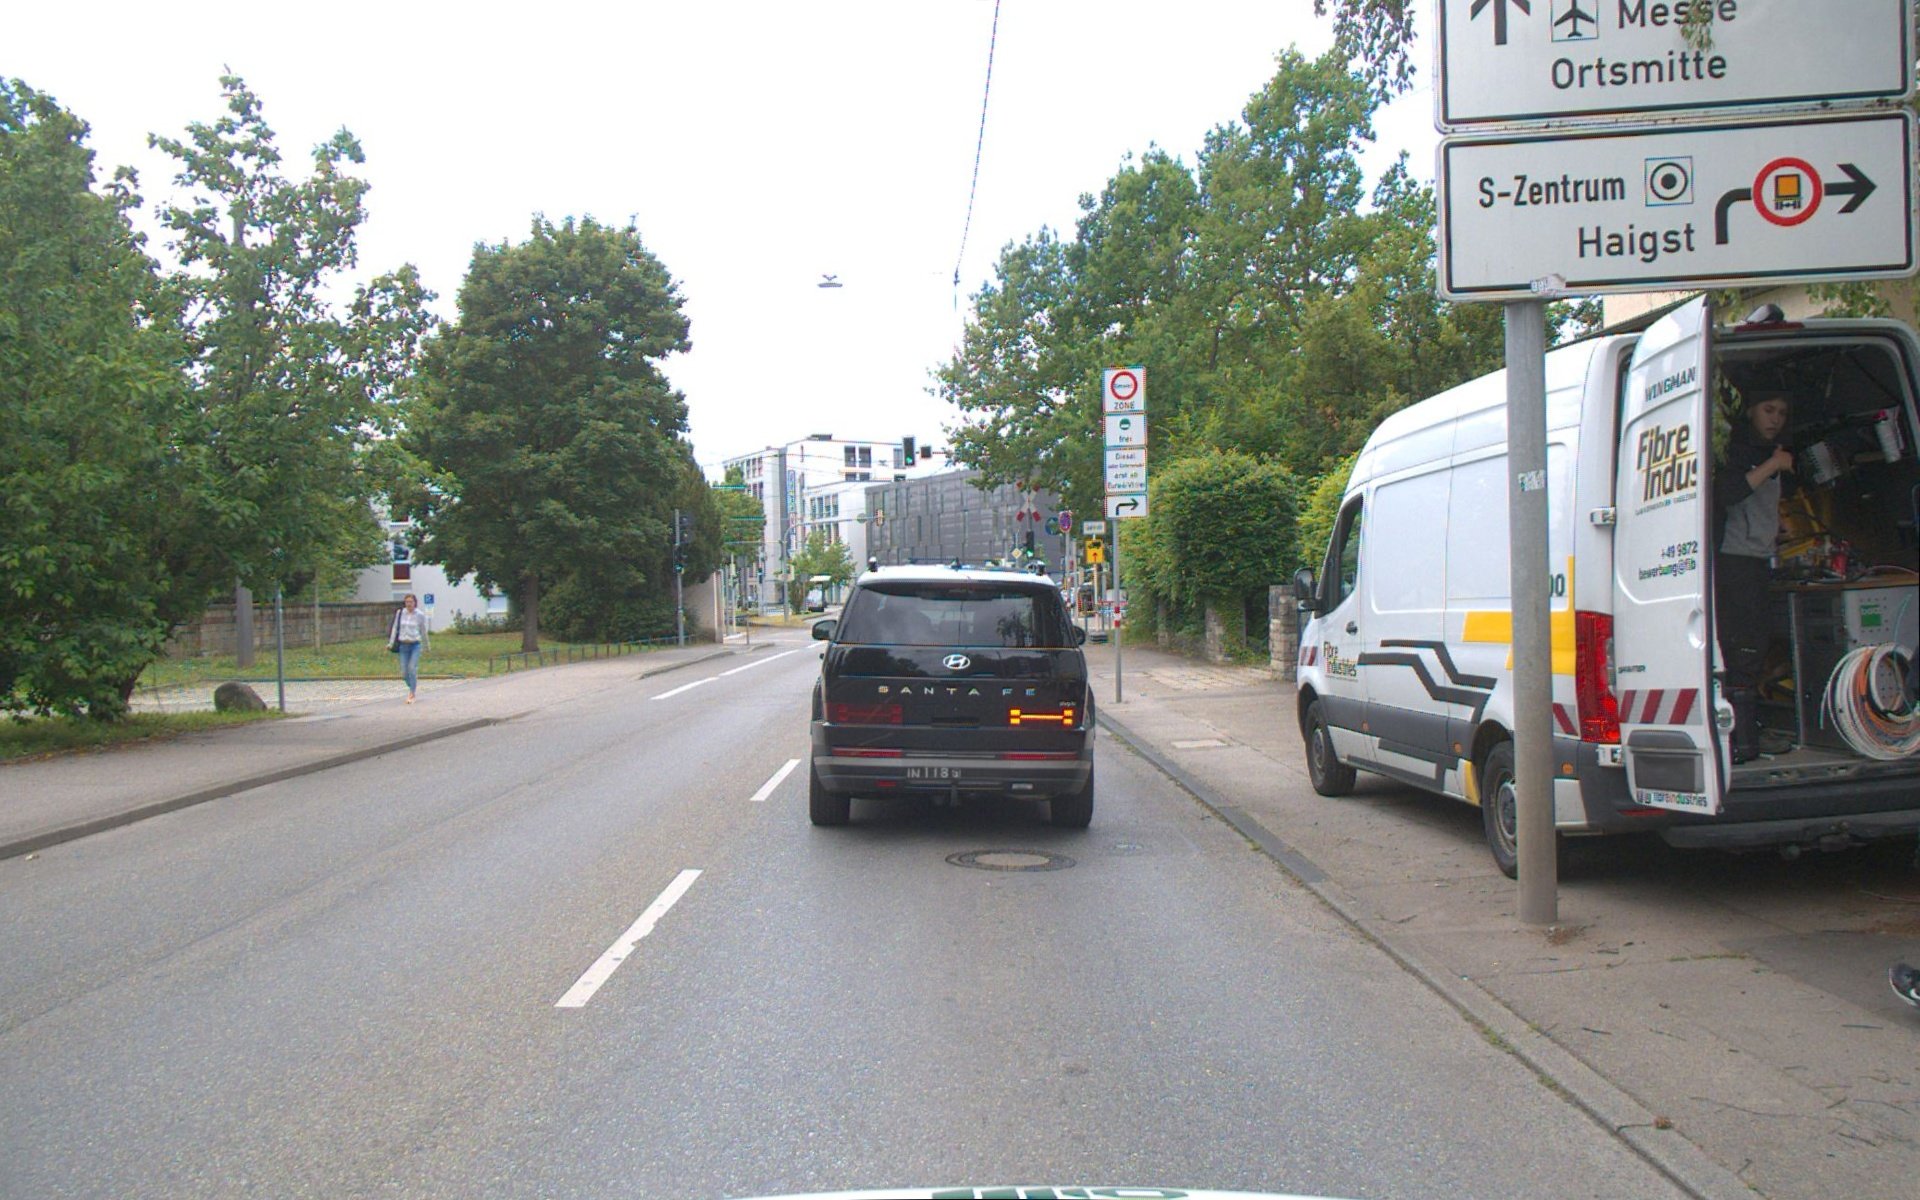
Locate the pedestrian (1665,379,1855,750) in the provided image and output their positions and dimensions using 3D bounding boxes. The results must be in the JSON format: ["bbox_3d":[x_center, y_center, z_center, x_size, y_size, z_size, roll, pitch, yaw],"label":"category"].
[{"bbox_3d":[3.851,-0.150,7.981,0.722,1.672,0.800,-3,-1,26],"label":"pedestrian"}]

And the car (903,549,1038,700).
[{"bbox_3d":[0.134,0.351,25.377,1.858,2.077,3.993,2,0,-1],"label":"car"}]

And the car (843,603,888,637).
[{"bbox_3d":[-4.320,0.878,75.284,1.847,1.445,3.995,-1,0,-6],"label":"car"}]

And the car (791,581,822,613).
[{"bbox_3d":[-11.902,-0.214,127.998,2.288,2.356,4.951,-1,0,-6],"label":"car"}]

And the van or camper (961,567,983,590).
[{"bbox_3d":[1.105,-2.016,156.650,1.760,2.033,3.820,2,0,-4],"label":"van or camper"}]

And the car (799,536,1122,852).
[{"bbox_3d":[-0.010,0.561,11.761,1.858,1.807,3.993,2,0,-1],"label":"car"}]

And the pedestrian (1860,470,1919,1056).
[{"bbox_3d":[3.283,0.465,5.092,0.735,1.750,0.792,-3,0,23],"label":"pedestrian"}]

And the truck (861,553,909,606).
[{"bbox_3d":[-5.821,-1.528,127.565,3.048,3.926,9.608,-1,0,-6],"label":"truck"}]

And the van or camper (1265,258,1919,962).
[{"bbox_3d":[3.751,0.028,9.442,2.294,2.538,6.598,-4,-1,-3],"label":"van or camper"}]

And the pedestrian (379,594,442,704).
[{"bbox_3d":[-8.982,0.789,27.061,0.752,1.779,0.904,0,0,-3],"label":"pedestrian"}]

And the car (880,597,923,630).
[{"bbox_3d":[-3.181,0.717,88.684,1.848,1.667,3.890,-1,0,-9],"label":"car"}]
